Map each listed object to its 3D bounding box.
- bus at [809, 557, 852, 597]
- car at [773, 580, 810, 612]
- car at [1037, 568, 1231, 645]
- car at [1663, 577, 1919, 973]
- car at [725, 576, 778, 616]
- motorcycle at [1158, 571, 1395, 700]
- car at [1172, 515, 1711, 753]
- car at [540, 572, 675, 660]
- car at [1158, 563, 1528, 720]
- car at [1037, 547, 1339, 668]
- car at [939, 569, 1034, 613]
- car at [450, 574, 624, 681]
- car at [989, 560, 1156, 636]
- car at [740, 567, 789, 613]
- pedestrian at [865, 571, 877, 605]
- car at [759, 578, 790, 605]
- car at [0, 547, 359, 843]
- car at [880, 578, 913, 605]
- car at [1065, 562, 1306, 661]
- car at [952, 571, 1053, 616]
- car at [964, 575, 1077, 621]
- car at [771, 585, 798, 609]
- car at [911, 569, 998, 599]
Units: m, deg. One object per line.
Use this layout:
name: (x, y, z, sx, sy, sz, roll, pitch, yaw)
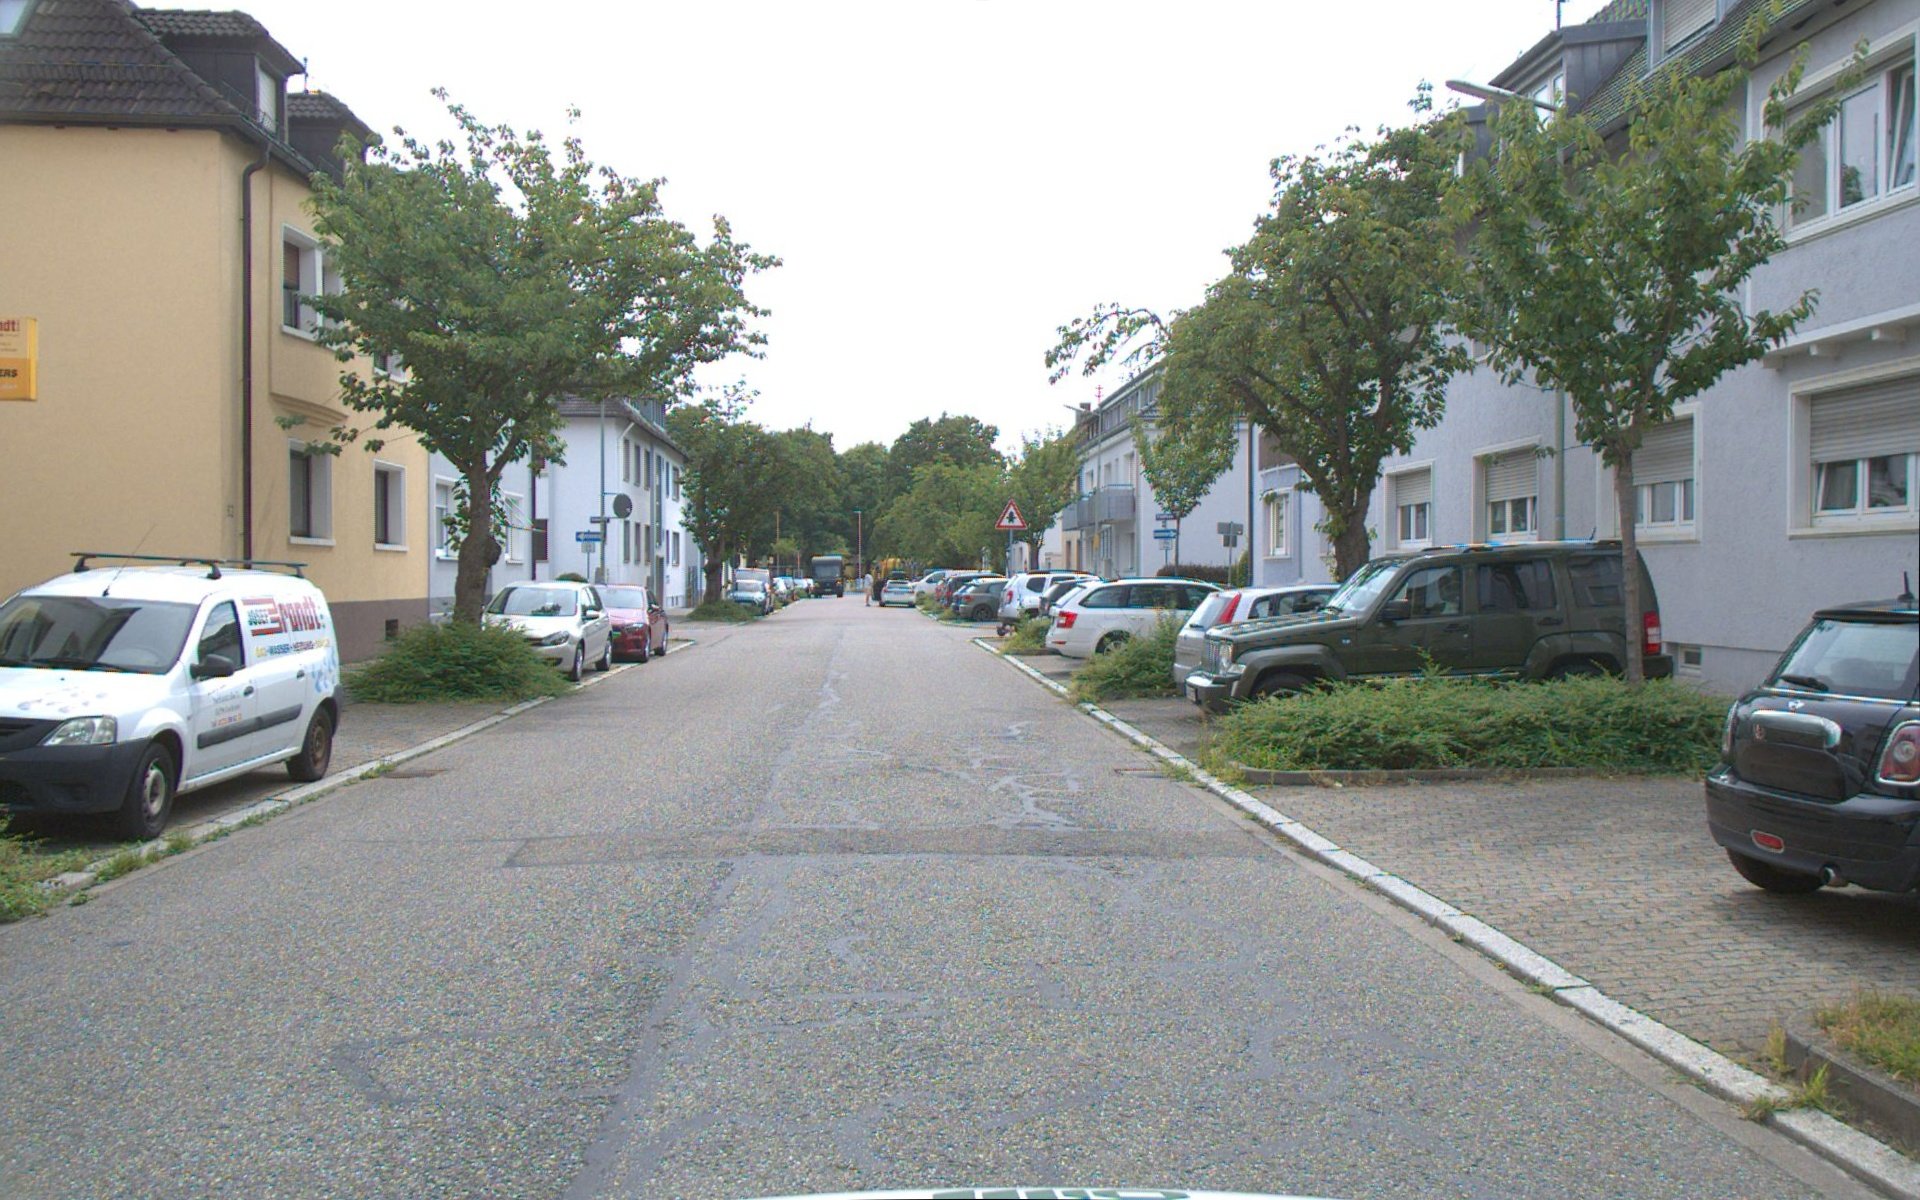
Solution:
bus: (-9.950, -1.757, 127.499, 2.944, 2.809, 8.919, -2, 1, -3)
car: (-8.374, -0.227, 82.377, 1.619, 1.487, 3.549, -2, 1, -4)
car: (3.717, 0.130, 35.772, 3.908, 1.446, 1.711, -2, 1, -4)
car: (5.300, 0.617, 7.425, 3.473, 1.478, 1.807, -2, 1, -4)
car: (-8.809, -0.193, 70.203, 1.727, 1.581, 3.731, -2, 1, 0)
motorcycle: (3.837, 0.410, 20.154, 2.649, 1.489, 1.030, -1, 1, -8)
car: (4.334, 0.284, 15.366, 4.433, 1.890, 1.793, -2, 1, -1)
car: (-6.798, 0.269, 32.343, 1.840, 1.512, 4.509, -2, 1, -3)
car: (4.160, 0.420, 18.262, 3.557, 1.480, 1.770, -3, 1, -8)
car: (3.602, 0.100, 26.665, 4.522, 1.693, 1.892, -2, 1, -3)
car: (1.059, -0.363, 66.502, 3.673, 1.591, 1.772, -2, 1, -3)
car: (-6.660, 0.379, 26.492, 1.737, 1.416, 4.273, 5, 0, -3)
car: (2.708, -0.065, 40.443, 3.845, 1.661, 1.867, -2, 1, -3)
car: (-9.016, -0.495, 76.585, 1.954, 2.049, 4.517, -1, 1, -4)
pedestrian: (-4.695, -0.639, 87.066, 0.511, 1.734, 0.444, -2, 0, 0)
car: (-10.435, -0.476, 93.320, 1.619, 1.401, 3.717, -2, 1, -6)
car: (-5.785, 0.528, 11.285, 1.880, 1.609, 4.380, -2, 1, -3)
car: (-3.361, -0.466, 87.813, 1.653, 1.377, 3.825, -2, 1, -2)
car: (3.917, 0.185, 29.107, 3.908, 1.534, 1.711, -2, 1, -4)
car: (1.480, -0.238, 58.837, 3.448, 1.437, 1.558, -2, 1, -3)
car: (2.029, -0.089, 56.104, 3.673, 1.389, 1.772, -2, 1, -3)
car: (-10.431, -0.195, 98.391, 1.509, 1.324, 3.717, -2, 1, -6)
car: (-0.344, -0.919, 96.375, 4.878, 1.545, 1.767, -3, 1, -5)
